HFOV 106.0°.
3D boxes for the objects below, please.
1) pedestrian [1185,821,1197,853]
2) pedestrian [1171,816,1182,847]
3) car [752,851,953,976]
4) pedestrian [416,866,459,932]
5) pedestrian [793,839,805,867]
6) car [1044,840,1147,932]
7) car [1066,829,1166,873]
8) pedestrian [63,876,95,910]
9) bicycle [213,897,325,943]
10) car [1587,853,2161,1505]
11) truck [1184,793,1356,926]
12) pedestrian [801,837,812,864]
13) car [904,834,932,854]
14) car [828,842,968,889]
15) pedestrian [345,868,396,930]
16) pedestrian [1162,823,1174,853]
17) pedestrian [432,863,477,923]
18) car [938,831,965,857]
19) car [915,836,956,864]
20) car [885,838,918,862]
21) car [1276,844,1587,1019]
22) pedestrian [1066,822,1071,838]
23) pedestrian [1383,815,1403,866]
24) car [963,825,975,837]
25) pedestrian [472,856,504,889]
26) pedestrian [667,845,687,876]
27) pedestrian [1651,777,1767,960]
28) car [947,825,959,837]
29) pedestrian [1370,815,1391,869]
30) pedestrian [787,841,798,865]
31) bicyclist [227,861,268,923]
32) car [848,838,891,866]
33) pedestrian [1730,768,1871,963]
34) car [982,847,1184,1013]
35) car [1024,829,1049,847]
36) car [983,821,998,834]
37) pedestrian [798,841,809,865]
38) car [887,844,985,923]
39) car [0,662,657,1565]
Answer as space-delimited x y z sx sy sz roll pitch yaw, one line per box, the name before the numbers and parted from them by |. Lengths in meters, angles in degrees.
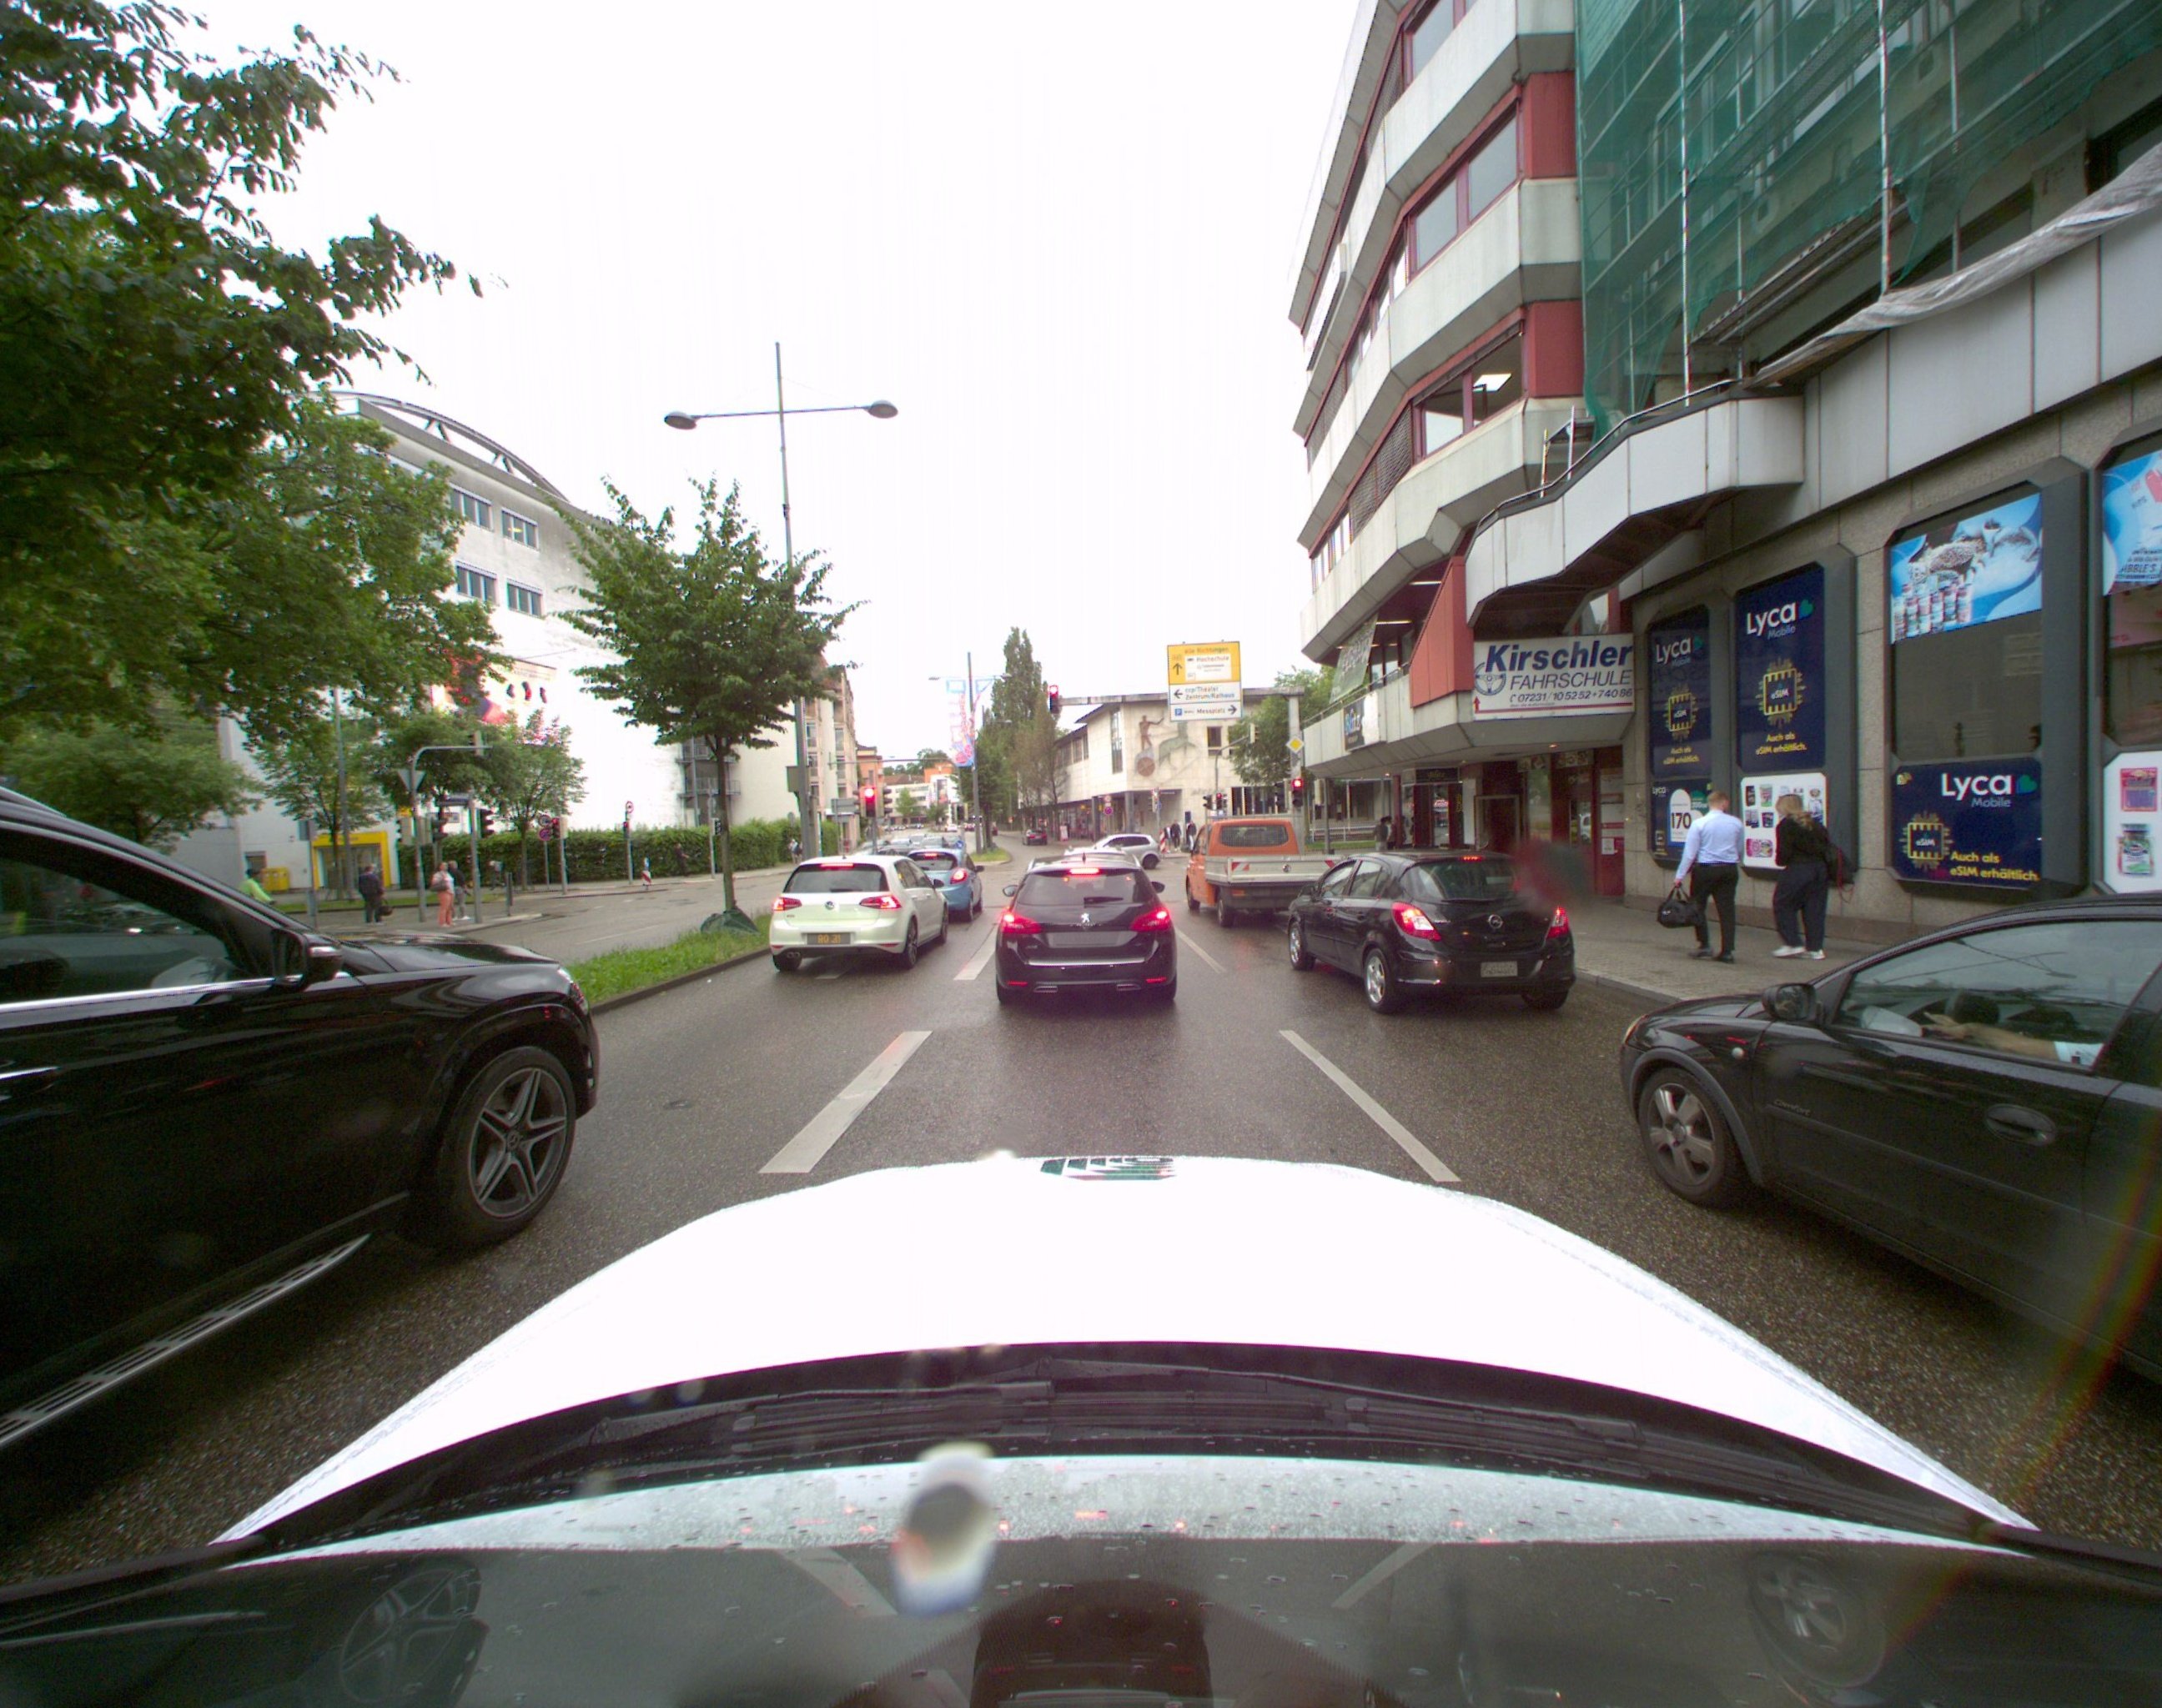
pedestrian | 6.664 -1.048 49.296 0.633 1.897 0.735 -1 -1 8
pedestrian | 5.846 -1.366 49.742 0.633 1.897 0.735 -1 -1 8
car | -3.026 0.703 11.640 1.772 1.429 3.841 -1 1 0
pedestrian | -17.069 1.184 21.610 0.555 1.661 0.580 -2 2 2
pedestrian | -17.498 -0.047 50.495 0.538 1.748 0.745 0 -1 -7
car | 0.292 0.501 15.366 1.690 1.486 3.795 -1 1 2
car | 1.422 -0.143 33.579 3.746 1.468 1.631 -4 2 -14
pedestrian | -48.519 1.882 39.437 0.633 1.643 0.735 -1 -1 8
bicycle | -20.820 1.674 20.914 0.609 1.000 1.953 -4 -1 38
car | 3.263 0.743 2.274 1.600 1.429 3.626 -1 1 3
truck | 3.434 0.031 15.888 2.170 2.172 5.020 -1 1 0
pedestrian | -17.573 -0.219 52.065 0.538 1.748 0.564 -1 -1 -3
car | -12.333 -0.774 61.717 1.630 1.486 3.604 -1 1 -4
car | -6.457 0.344 29.136 1.618 1.486 4.766 0 2 44
pedestrian | -20.985 1.321 24.072 0.917 1.784 0.712 -1 -1 13
pedestrian | 5.127 -0.944 47.993 0.633 1.758 0.735 -1 -1 8
pedestrian | -18.371 1.134 23.895 0.750 1.661 0.628 -2 2 1
car | -8.973 -0.659 56.499 1.743 1.640 3.988 0 -1 -9
car | -8.598 -0.207 48.409 1.739 1.579 3.997 -1 -1 -1
car | -12.099 -0.290 55.019 1.630 1.486 3.604 -1 1 -4
car | 3.377 0.618 8.679 1.611 1.429 3.840 -1 1 -1
pedestrian | -1.313 -2.519 85.544 0.469 1.748 0.537 0 -1 -19
pedestrian | 10.155 -0.427 26.514 0.395 1.640 0.504 -3 -1 2
car | -20.322 -4.197 147.993 1.709 1.936 3.979 0 -1 -15
pedestrian | -28.721 0.891 39.445 1.059 1.578 0.683 -1 -1 -3
pedestrian | -21.286 0.342 42.923 0.730 1.643 0.638 -1 -1 -6
pedestrian | 6.860 0.156 8.929 0.733 1.935 0.640 -1 -1 1
car | -23.037 -4.158 146.826 1.709 1.882 3.979 0 -1 -15
pedestrian | 9.629 -0.377 26.212 0.424 1.682 0.450 -3 -1 0
pedestrian | -18.897 -0.064 53.367 0.579 1.599 0.526 -1 -1 -5
bicyclist | -21.117 0.959 20.632 0.625 1.530 0.613 -4 -1 38
car | -12.132 -0.142 46.812 1.569 1.486 3.608 -1 1 -1
pedestrian | 7.628 0.119 8.670 0.733 1.934 0.640 -5 -1 1
car | 0.100 0.657 9.126 1.770 1.429 3.845 -1 1 2
car | -4.137 -1.532 75.324 1.787 1.454 4.494 -4 3 -9
car | -12.866 -3.744 115.701 1.726 1.490 4.714 0 -1 -11
pedestrian | -18.522 -0.088 54.385 0.579 1.599 0.526 -1 -1 -5
car | -3.021 0.552 17.617 1.629 1.486 3.606 -1 1 -3
car | -3.198 0.546 1.700 1.905 1.870 5.073 -1 -1 1
